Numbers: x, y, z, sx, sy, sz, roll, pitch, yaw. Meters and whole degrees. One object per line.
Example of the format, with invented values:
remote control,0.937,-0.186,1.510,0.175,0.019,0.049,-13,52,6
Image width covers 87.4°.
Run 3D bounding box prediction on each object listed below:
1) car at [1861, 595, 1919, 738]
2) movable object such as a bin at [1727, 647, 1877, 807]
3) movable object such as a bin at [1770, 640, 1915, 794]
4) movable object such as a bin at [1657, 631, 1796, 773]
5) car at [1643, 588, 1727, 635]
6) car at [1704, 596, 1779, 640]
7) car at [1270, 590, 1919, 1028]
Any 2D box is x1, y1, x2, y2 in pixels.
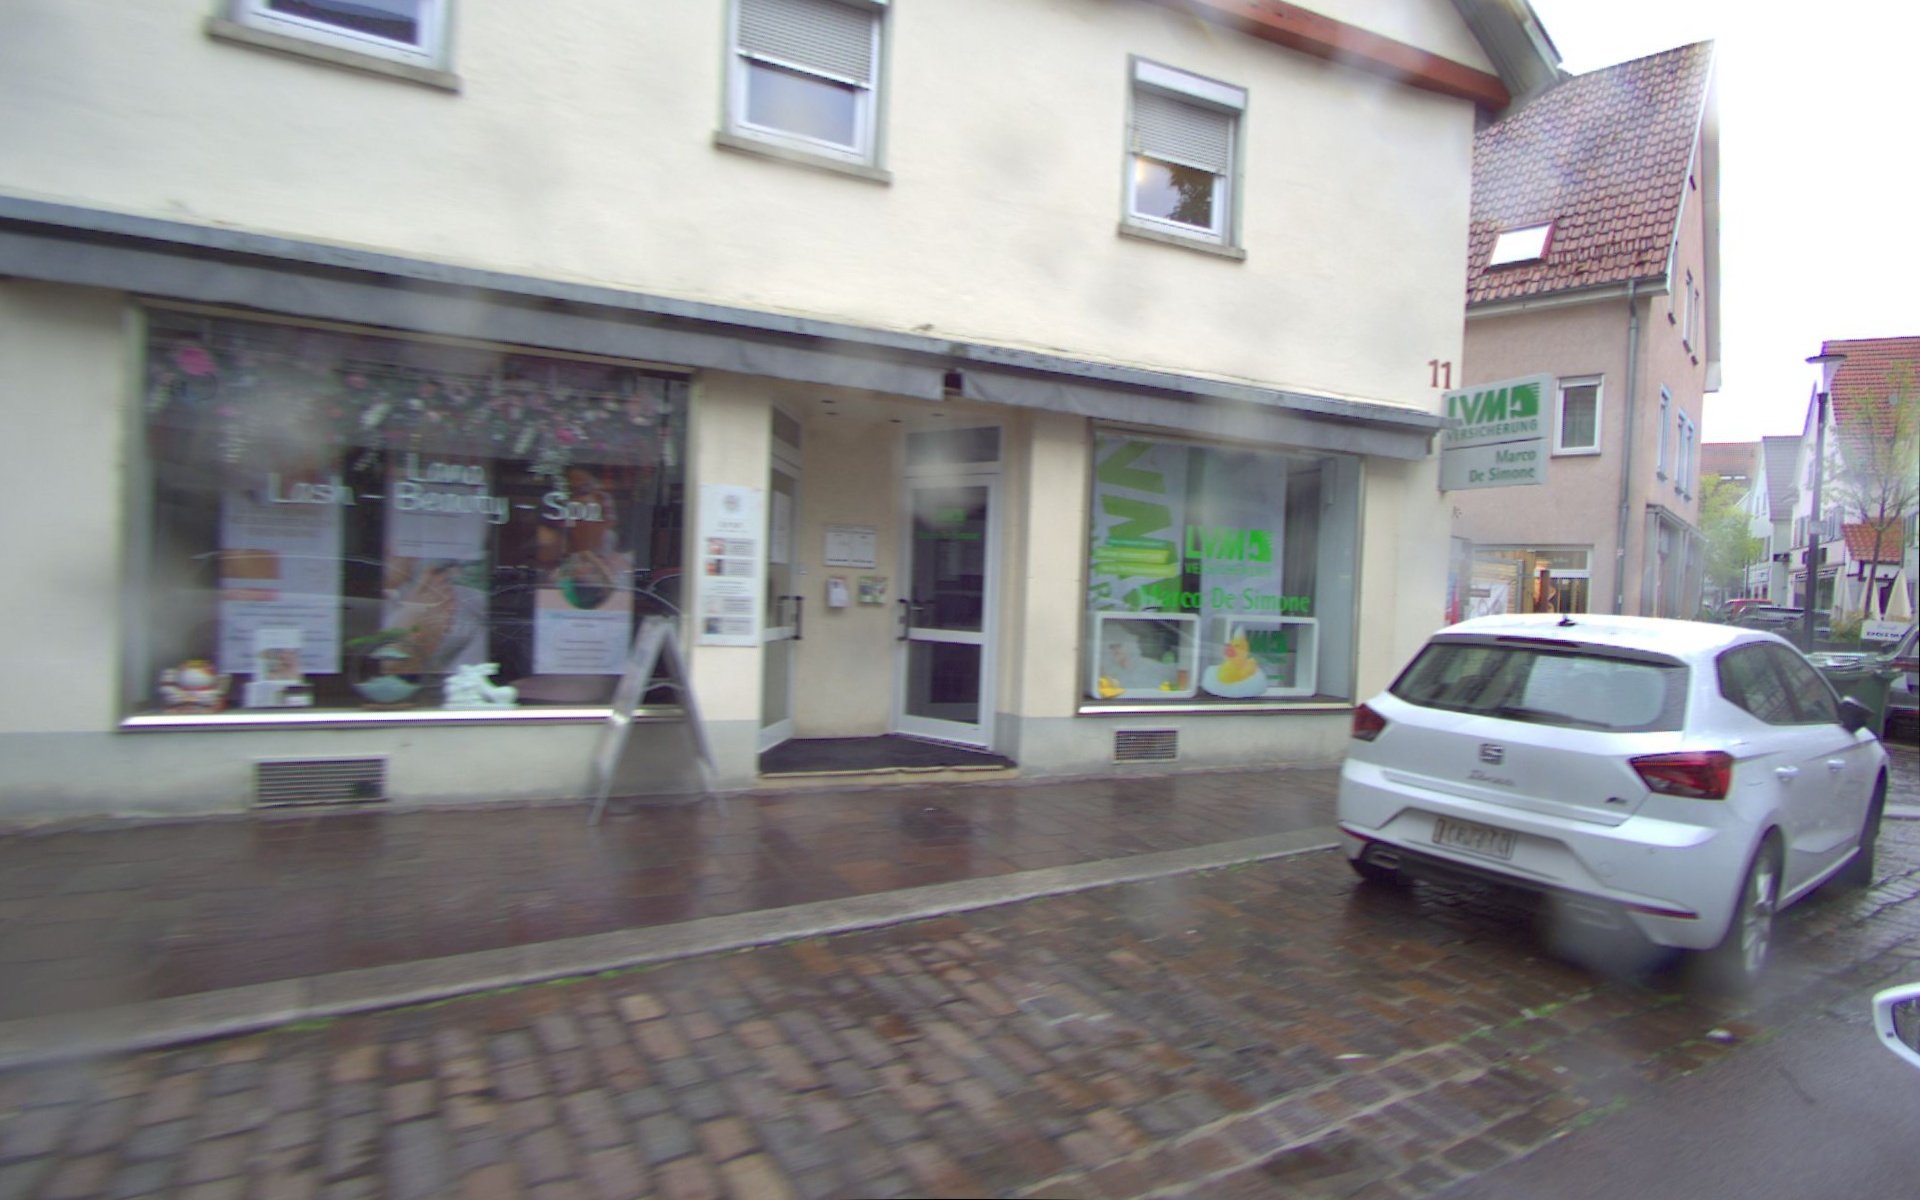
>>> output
car,12.464,0.833,12.285,4.372,1.561,1.856,3,1,-45
movable object such as a bin,6.683,0.973,7.983,0.711,1.151,0.678,1,1,-31
movable object such as a bin,7.357,0.944,8.381,0.711,1.159,0.696,1,2,-32
movable object such as a bin,6.856,0.896,8.993,0.711,1.137,0.696,3,3,-32
car,29.153,0.494,40.530,1.795,1.688,4.639,4,0,25
car,36.881,0.798,47.493,1.865,1.836,3.995,5,3,26
car,3.669,0.725,5.498,4.038,1.471,1.834,0,2,-40
